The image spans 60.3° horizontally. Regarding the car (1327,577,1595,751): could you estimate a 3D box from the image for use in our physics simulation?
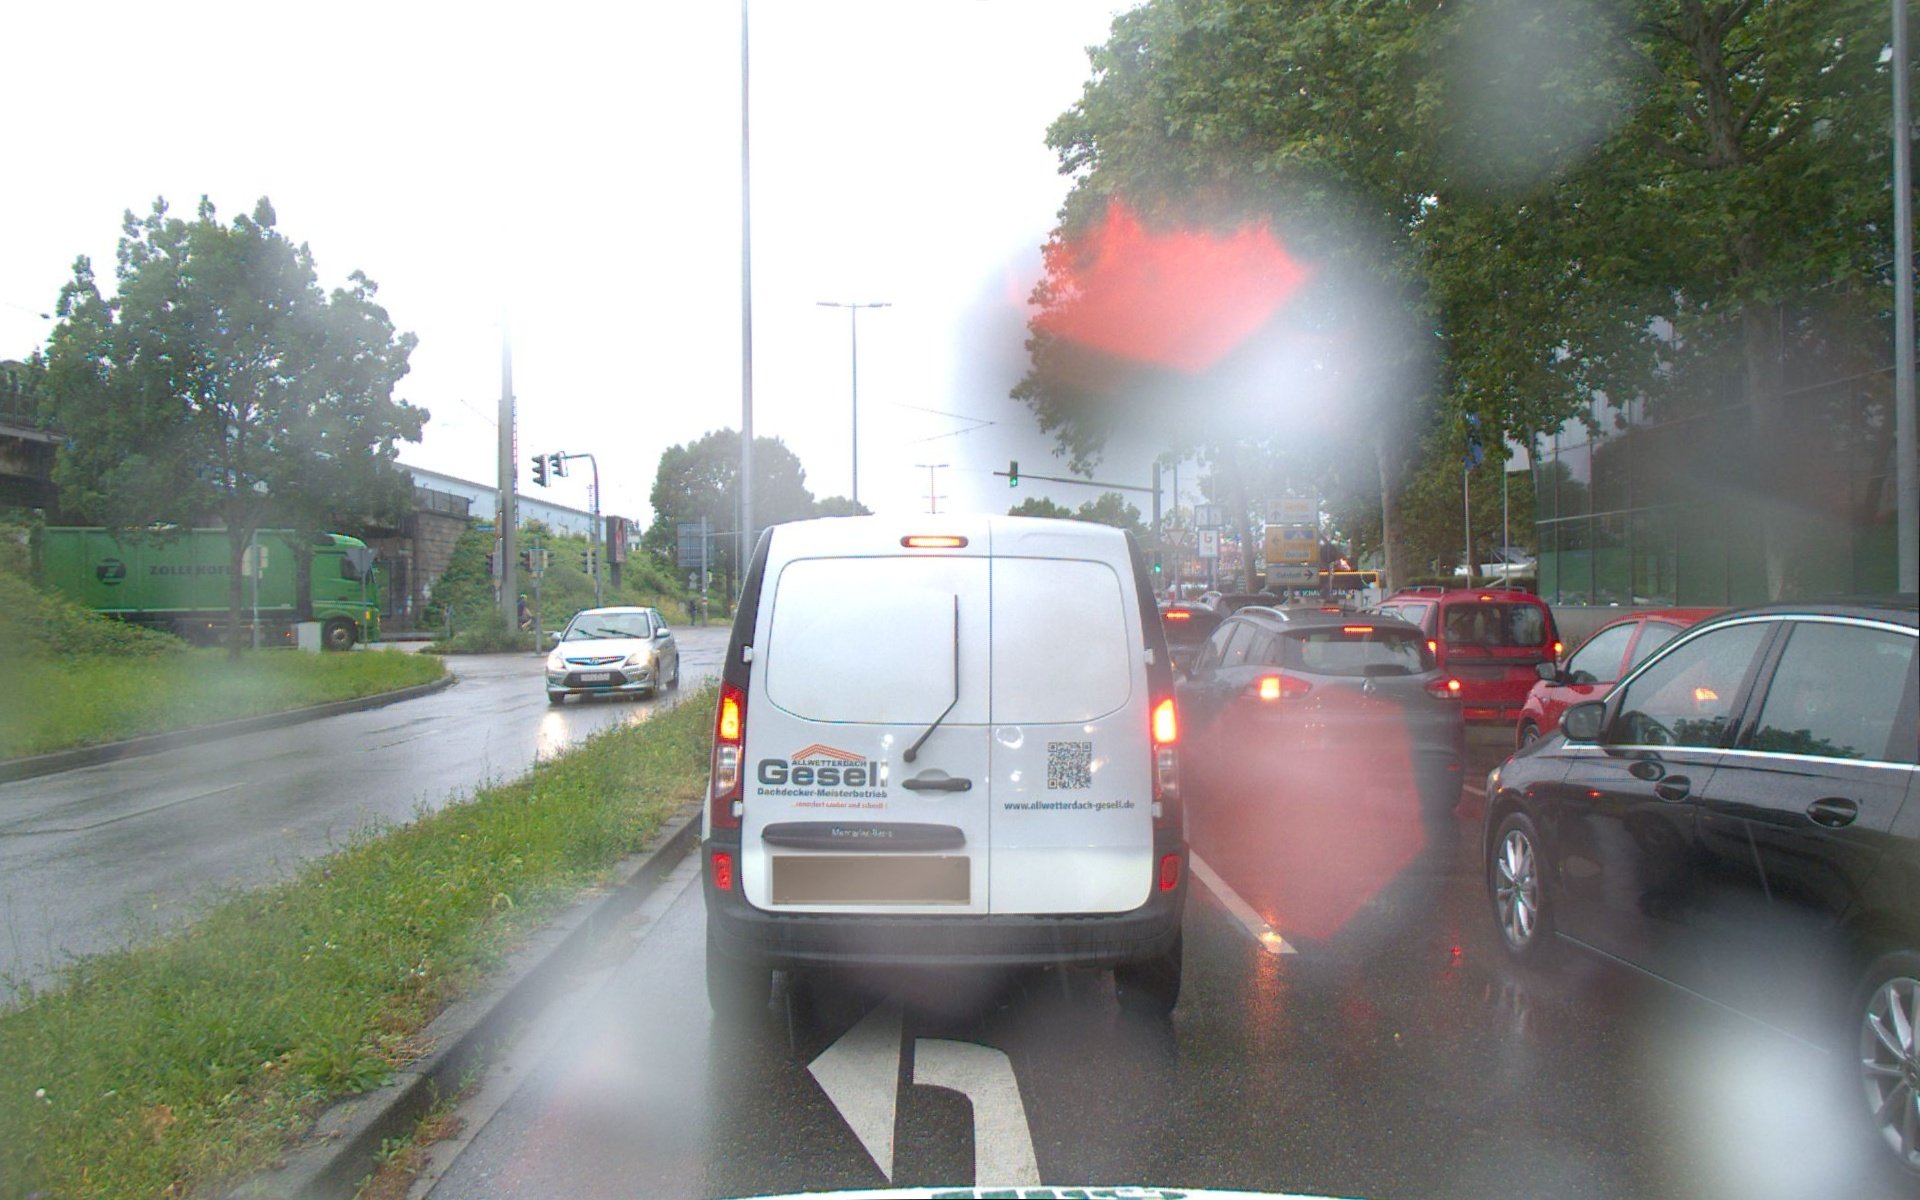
[{"bbox_3d":[5.514,0.664,18.771,1.676,1.724,4.271,1,-1,-1],"label":"car"}]

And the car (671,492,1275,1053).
[{"bbox_3d":[0.013,0.539,7.642,1.953,1.807,4.584,0,0,-1],"label":"car"}]

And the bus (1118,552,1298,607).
[{"bbox_3d":[16.602,-1.397,111.150,11.727,3.483,2.315,-1,1,-1],"label":"bus"}]

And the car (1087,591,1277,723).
[{"bbox_3d":[2.662,0.635,20.662,1.816,1.486,3.842,0,0,-1],"label":"car"}]

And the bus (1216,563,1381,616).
[{"bbox_3d":[24.011,-0.751,117.044,11.785,3.483,2.470,-1,1,-18],"label":"bus"}]

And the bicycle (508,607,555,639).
[{"bbox_3d":[-14.342,0.757,55.347,1.027,0.968,2.866,-1,1,-25],"label":"bicycle"}]

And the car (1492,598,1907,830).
[{"bbox_3d":[5.382,0.746,12.504,1.537,1.488,3.388,0,0,-2],"label":"car"}]

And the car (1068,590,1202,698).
[{"bbox_3d":[2.874,0.678,27.893,1.816,1.678,3.842,0,0,-1],"label":"car"}]

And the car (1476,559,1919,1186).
[{"bbox_3d":[3.245,0.687,5.447,1.712,1.582,4.089,0,0,-2],"label":"car"}]

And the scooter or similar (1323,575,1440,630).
[{"bbox_3d":[19.673,0.099,77.359,1.878,2.489,5.239,0,0,-41],"label":"scooter or similar"}]

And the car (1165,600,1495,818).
[{"bbox_3d":[2.752,0.740,13.133,1.649,1.433,3.842,1,0,-2],"label":"car"}]

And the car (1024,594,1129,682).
[{"bbox_3d":[2.308,0.730,33.613,1.816,1.678,3.842,0,0,-1],"label":"car"}]

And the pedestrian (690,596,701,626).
[{"bbox_3d":[-15.364,0.619,96.021,0.532,1.746,0.563,1,-1,-5],"label":"pedestrian"}]

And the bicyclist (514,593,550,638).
[{"bbox_3d":[-14.301,0.507,55.252,1.028,1.475,0.723,-1,1,-26],"label":"bicyclist"}]

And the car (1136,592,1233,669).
[{"bbox_3d":[5.175,0.678,38.518,1.674,1.678,3.842,1,0,-1],"label":"car"}]

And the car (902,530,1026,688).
[{"bbox_3d":[0.031,0.118,26.335,1.816,2.336,3.842,0,0,-1],"label":"car"}]

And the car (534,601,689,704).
[{"bbox_3d":[-5.721,0.817,27.611,1.779,1.488,3.999,-3,0,-2],"label":"car"}]

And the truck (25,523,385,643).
[{"bbox_3d":[-23.187,-0.514,51.295,9.956,3.430,2.316,0,0,-37],"label":"truck"}]
